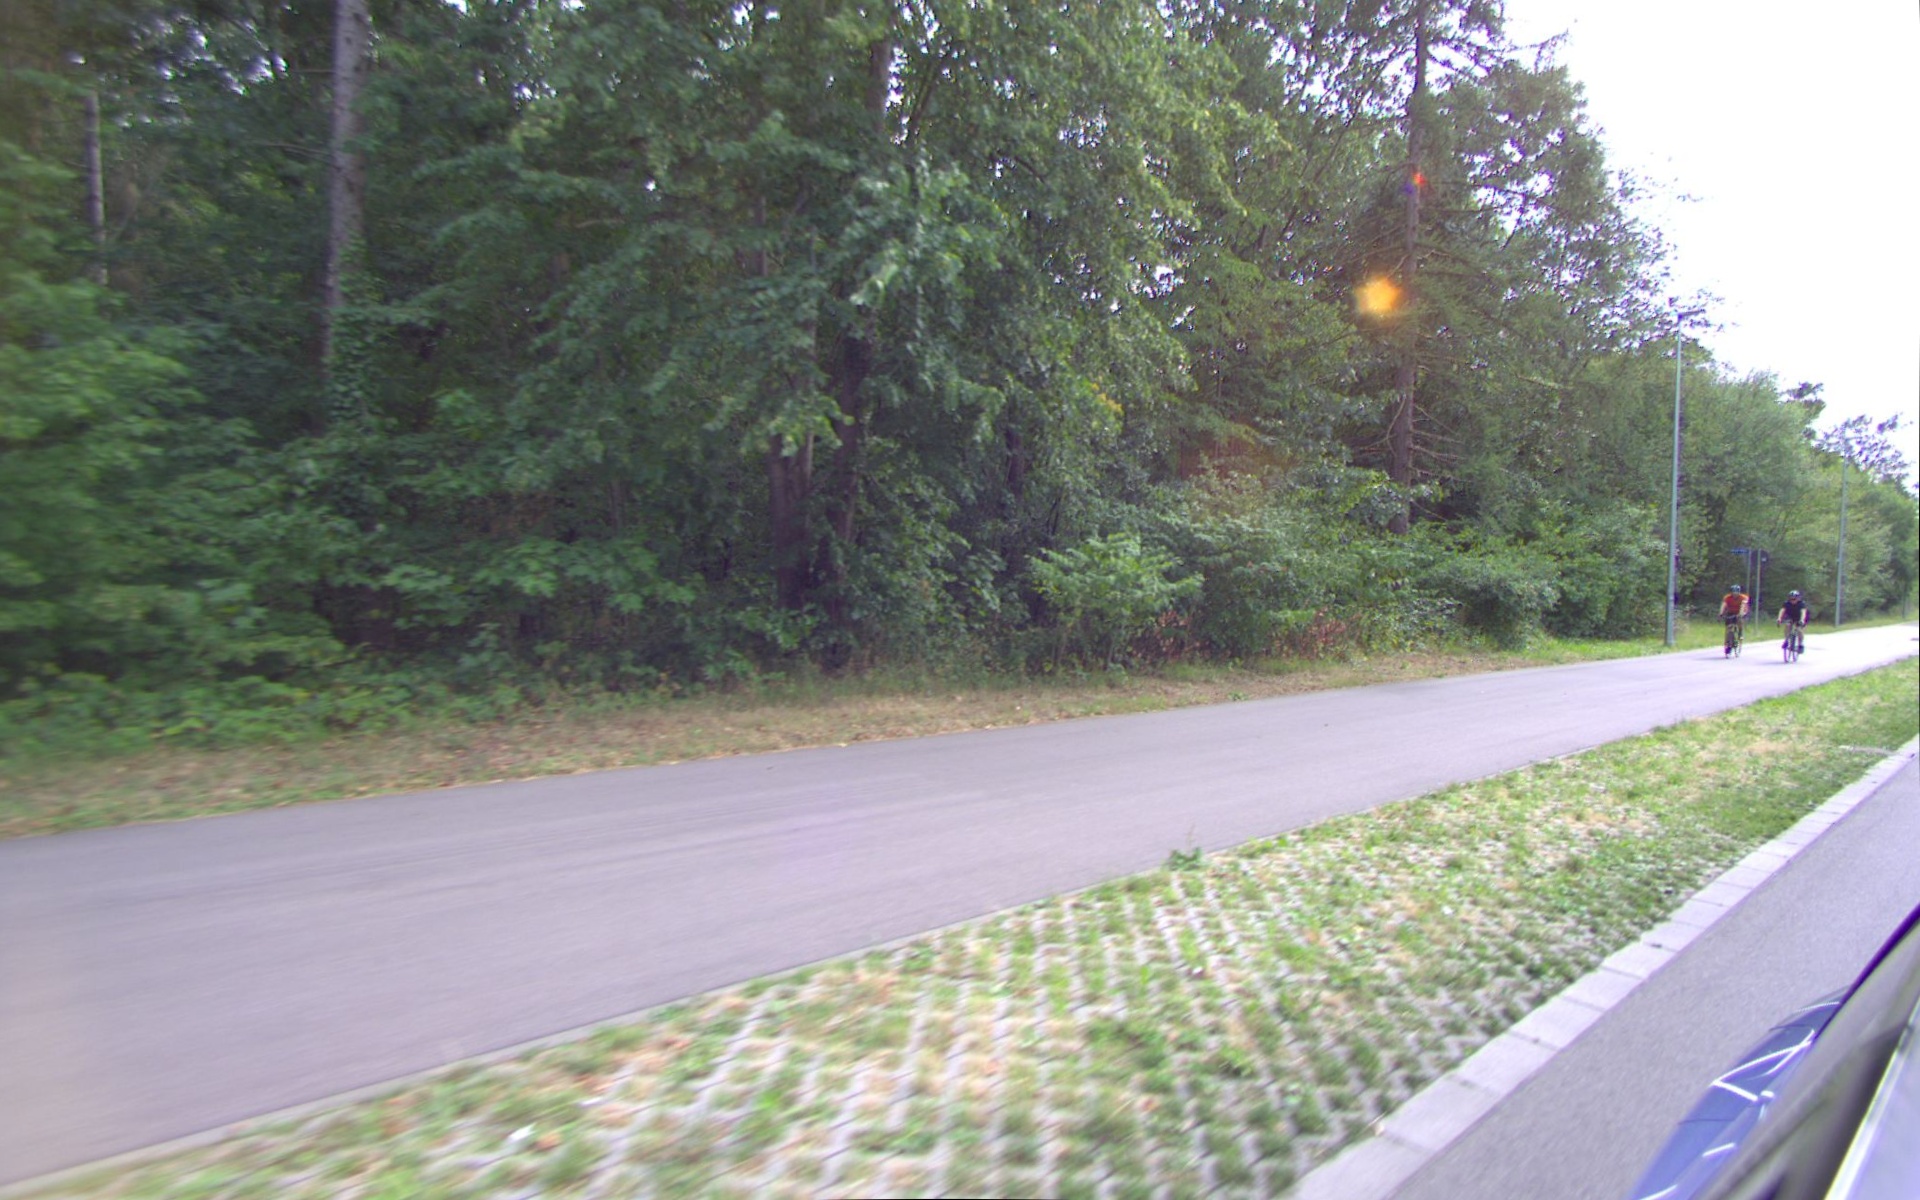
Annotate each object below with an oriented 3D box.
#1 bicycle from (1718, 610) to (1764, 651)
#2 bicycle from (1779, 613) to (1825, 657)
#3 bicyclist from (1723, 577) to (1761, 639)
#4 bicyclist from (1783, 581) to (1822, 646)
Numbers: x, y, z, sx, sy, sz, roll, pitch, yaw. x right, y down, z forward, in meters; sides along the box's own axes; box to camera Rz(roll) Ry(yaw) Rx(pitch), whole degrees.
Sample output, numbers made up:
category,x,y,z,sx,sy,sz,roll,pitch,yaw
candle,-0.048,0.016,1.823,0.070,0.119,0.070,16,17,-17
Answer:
category,x,y,z,sx,sy,sz,roll,pitch,yaw
bicycle,18.678,0.717,24.179,1.855,0.923,0.566,0,1,-43
bicycle,19.413,0.788,23.327,1.725,0.923,0.566,-1,3,-43
bicyclist,18.656,0.172,24.136,1.166,1.433,0.520,-1,0,-43
bicyclist,19.440,0.290,23.338,1.166,1.433,0.520,-1,2,-43
